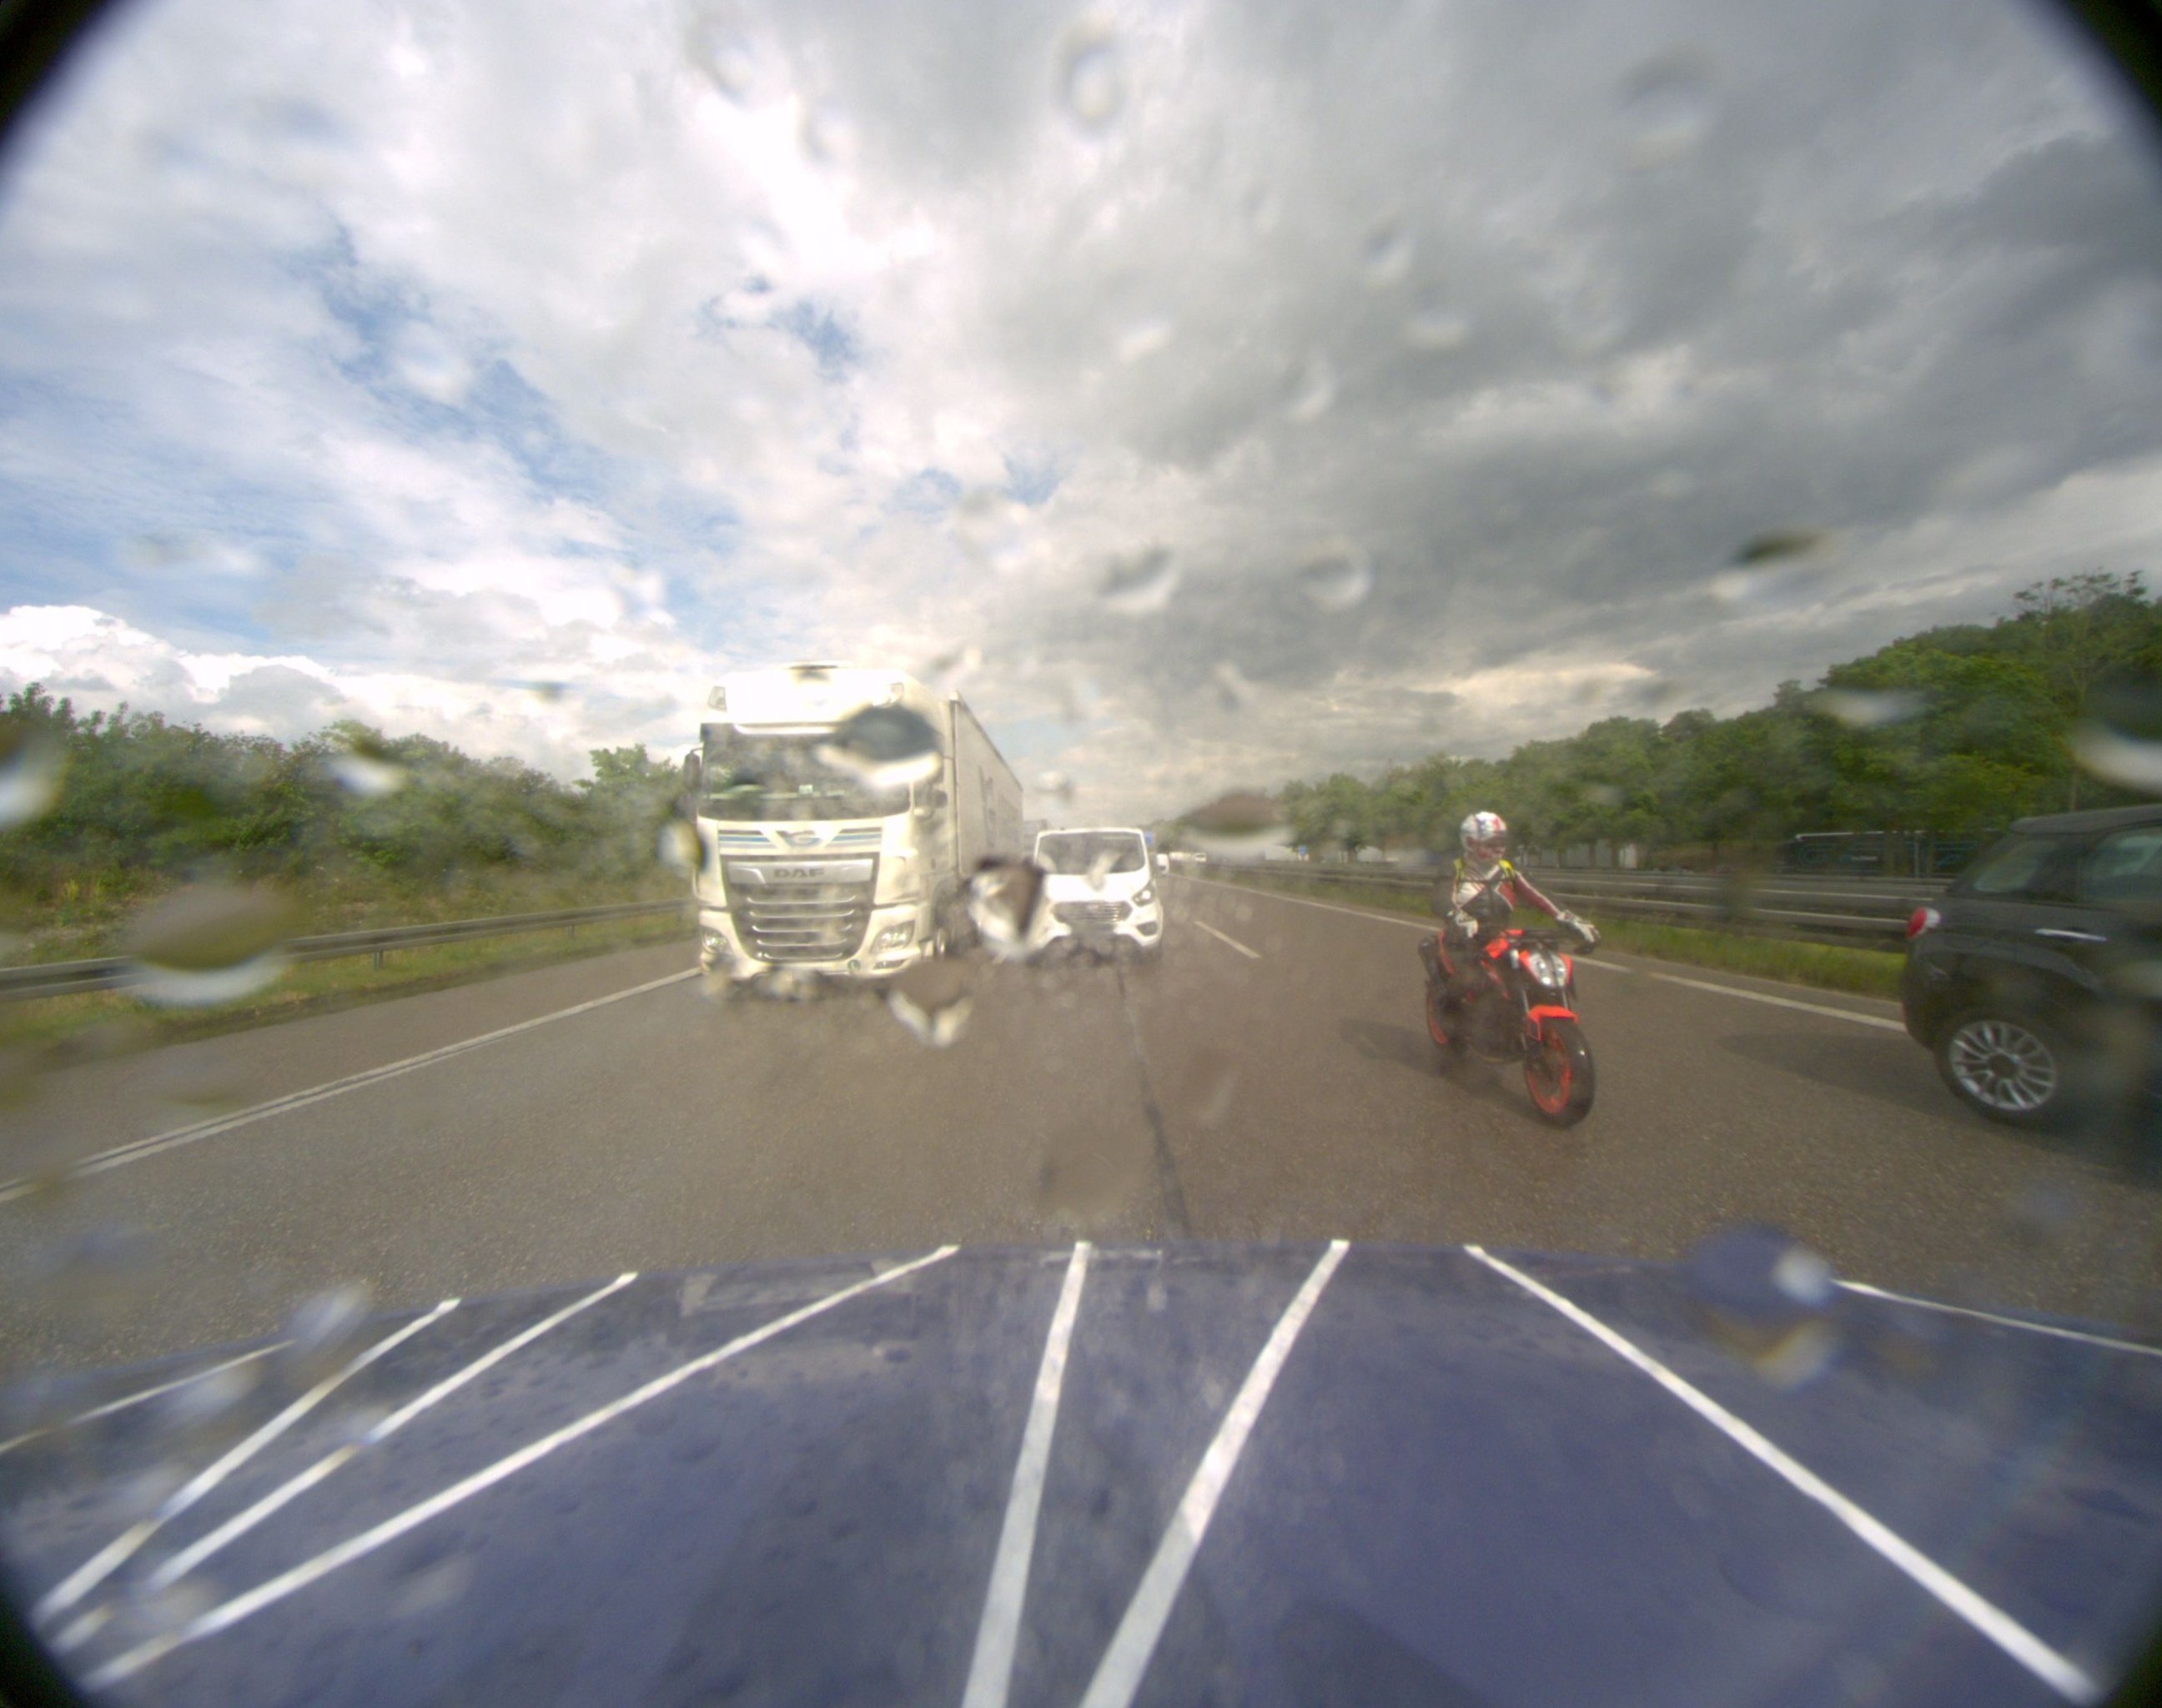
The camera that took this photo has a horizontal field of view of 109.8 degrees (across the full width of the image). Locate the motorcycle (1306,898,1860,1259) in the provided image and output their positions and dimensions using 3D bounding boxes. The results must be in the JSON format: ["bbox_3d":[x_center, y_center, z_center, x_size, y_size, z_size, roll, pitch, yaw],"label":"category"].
[{"bbox_3d":[2.562,1.014,4.730,1.188,1.219,3.193,-2,1,-3],"label":"motorcycle"}]

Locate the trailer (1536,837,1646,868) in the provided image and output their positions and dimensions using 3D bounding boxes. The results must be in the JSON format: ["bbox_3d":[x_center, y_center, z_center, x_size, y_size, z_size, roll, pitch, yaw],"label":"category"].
[{"bbox_3d":[55.761,-0.180,83.705,3.356,3.198,12.471,-1,0,-2],"label":"trailer"}]

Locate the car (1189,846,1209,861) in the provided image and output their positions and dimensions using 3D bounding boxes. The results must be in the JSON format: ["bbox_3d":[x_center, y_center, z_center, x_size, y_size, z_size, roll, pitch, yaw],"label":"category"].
[{"bbox_3d":[17.620,-0.104,113.730,2.179,2.034,4.651,-2,1,0],"label":"car"}]

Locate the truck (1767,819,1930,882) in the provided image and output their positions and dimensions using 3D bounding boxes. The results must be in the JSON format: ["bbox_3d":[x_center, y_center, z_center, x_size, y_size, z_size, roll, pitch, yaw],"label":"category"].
[{"bbox_3d":[57.152,-0.288,57.039,3.797,4.210,8.416,-2,1,1],"label":"truck"}]

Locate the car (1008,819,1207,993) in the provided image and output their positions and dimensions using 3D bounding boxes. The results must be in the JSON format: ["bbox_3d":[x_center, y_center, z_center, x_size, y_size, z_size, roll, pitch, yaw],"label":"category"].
[{"bbox_3d":[0.317,0.604,11.818,2.350,2.033,5.142,-2,1,0],"label":"car"}]

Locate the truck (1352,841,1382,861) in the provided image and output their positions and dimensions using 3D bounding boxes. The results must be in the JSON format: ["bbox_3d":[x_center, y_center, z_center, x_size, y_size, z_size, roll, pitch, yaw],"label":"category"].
[{"bbox_3d":[49.619,-0.494,131.899,2.663,3.249,5.081,-2,1,-10],"label":"truck"}]

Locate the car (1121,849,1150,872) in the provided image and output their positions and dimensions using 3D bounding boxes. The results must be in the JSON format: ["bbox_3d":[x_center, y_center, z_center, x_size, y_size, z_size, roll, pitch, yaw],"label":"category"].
[{"bbox_3d":[5.315,0.630,74.605,2.350,2.033,5.142,-2,1,0],"label":"car"}]

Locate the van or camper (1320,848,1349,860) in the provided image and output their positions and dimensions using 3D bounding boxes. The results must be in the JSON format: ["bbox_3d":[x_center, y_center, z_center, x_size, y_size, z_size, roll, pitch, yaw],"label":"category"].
[{"bbox_3d":[47.710,-0.041,142.908,2.126,2.252,6.316,-2,1,-13],"label":"van or camper"}]

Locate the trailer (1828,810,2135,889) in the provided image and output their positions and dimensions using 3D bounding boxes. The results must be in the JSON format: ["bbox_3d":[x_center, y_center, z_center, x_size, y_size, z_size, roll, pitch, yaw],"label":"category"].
[{"bbox_3d":[57.078,-0.271,49.345,3.798,4.380,13.801,-1,0,1],"label":"trailer"}]

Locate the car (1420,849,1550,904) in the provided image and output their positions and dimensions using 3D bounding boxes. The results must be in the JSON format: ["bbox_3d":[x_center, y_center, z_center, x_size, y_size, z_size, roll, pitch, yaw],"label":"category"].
[{"bbox_3d":[14.890,0.761,28.423,2.056,1.765,5.208,-2,1,0],"label":"car"}]

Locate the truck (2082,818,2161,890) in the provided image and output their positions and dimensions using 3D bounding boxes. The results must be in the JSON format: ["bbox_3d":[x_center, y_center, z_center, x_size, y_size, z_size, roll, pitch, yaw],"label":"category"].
[{"bbox_3d":[56.288,-0.026,37.607,3.797,3.569,7.354,-2,1,1],"label":"truck"}]

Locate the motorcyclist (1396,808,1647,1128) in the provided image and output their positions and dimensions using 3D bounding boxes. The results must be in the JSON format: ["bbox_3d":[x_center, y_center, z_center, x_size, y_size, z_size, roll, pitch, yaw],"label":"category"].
[{"bbox_3d":[2.591,0.610,4.599,0.883,1.696,1.000,-2,1,-2],"label":"motorcyclist"}]

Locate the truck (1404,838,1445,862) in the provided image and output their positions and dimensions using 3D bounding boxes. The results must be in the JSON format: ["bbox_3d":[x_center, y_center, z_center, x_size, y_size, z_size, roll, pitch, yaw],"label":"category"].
[{"bbox_3d":[52.358,-0.586,115.998,2.869,3.436,5.893,-2,1,-7],"label":"truck"}]

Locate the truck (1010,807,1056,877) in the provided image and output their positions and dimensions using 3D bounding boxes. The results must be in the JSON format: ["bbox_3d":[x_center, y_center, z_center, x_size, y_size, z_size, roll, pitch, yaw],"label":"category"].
[{"bbox_3d":[-3.147,-0.763,50.521,2.650,4.250,6.882,-2,1,-3],"label":"truck"}]

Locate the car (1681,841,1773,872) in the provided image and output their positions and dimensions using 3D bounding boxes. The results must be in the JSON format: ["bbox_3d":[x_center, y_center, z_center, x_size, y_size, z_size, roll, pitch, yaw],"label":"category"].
[{"bbox_3d":[56.787,0.183,66.987,2.800,2.468,6.209,-2,1,1],"label":"car"}]

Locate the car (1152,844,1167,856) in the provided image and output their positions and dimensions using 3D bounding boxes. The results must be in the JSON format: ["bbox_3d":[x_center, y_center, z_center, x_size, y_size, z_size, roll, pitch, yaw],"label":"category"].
[{"bbox_3d":[13.742,-0.668,133.098,2.179,2.034,4.651,-2,1,0],"label":"car"}]

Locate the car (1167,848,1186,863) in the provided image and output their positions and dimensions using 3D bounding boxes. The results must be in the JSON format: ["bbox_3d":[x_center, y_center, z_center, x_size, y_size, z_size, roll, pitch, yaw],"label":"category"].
[{"bbox_3d":[13.822,0.126,110.105,2.056,2.034,5.208,-2,1,0],"label":"car"}]

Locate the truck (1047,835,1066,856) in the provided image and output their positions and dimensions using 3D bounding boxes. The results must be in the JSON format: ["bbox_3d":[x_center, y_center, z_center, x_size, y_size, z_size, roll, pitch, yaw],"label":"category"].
[{"bbox_3d":[-4.599,-1.631,145.449,3.218,3.607,10.152,-2,1,0],"label":"truck"}]

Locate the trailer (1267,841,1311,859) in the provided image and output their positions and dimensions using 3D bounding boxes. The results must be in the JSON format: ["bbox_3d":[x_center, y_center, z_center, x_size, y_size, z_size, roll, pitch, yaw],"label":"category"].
[{"bbox_3d":[43.363,-0.828,158.940,3.216,3.717,12.554,-1,0,-14],"label":"trailer"}]

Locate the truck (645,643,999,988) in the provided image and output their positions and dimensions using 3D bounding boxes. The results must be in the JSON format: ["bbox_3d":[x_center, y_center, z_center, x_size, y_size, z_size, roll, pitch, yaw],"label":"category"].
[{"bbox_3d":[-3.344,-0.452,12.019,3.293,3.868,6.395,-2,0,-1],"label":"truck"}]

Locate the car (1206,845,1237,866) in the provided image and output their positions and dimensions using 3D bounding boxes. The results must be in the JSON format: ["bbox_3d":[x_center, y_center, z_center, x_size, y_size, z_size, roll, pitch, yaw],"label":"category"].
[{"bbox_3d":[14.064,0.129,76.271,2.056,2.034,5.208,-2,1,0],"label":"car"}]

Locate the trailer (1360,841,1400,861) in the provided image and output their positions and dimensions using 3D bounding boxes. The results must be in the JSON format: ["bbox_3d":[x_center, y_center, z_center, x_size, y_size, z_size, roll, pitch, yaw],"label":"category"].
[{"bbox_3d":[50.356,-0.492,128.162,2.588,3.214,7.734,-1,0,-10],"label":"trailer"}]

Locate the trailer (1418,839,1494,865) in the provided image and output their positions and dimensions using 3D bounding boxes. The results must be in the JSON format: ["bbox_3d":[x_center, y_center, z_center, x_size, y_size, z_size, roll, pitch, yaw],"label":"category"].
[{"bbox_3d":[53.255,-0.309,108.550,2.832,3.385,13.417,-1,0,-7],"label":"trailer"}]

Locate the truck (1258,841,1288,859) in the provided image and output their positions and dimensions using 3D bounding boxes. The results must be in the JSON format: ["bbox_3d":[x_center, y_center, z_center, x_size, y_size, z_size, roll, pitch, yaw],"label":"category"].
[{"bbox_3d":[41.734,-0.854,165.316,3.219,3.683,6.907,-2,1,-14],"label":"truck"}]

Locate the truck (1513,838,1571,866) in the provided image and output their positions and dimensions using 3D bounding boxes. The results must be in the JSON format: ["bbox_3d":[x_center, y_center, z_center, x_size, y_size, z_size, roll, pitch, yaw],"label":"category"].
[{"bbox_3d":[55.446,-0.261,91.555,3.362,3.254,5.505,-2,1,-4],"label":"truck"}]

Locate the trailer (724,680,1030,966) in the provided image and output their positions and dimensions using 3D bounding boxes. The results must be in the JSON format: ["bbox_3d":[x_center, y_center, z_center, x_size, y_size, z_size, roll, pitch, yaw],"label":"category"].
[{"bbox_3d":[-3.325,-0.458,17.725,3.292,3.876,14.126,-2,0,-1],"label":"trailer"}]

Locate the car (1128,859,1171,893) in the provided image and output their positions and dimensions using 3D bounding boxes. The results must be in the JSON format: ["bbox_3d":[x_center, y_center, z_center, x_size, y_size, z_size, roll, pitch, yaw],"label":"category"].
[{"bbox_3d":[4.523,1.412,51.123,2.350,2.033,5.142,-2,1,0],"label":"car"}]

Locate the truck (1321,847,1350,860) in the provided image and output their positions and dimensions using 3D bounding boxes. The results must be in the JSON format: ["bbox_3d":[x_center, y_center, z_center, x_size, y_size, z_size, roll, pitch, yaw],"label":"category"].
[{"bbox_3d":[47.722,-0.041,142.838,2.126,2.252,6.311,-2,1,-13],"label":"truck"}]

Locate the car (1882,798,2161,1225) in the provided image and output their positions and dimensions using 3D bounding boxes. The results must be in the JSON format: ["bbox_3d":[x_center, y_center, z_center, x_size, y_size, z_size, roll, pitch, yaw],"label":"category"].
[{"bbox_3d":[5.375,0.644,2.289,1.697,1.794,3.975,-2,1,-1],"label":"car"}]
